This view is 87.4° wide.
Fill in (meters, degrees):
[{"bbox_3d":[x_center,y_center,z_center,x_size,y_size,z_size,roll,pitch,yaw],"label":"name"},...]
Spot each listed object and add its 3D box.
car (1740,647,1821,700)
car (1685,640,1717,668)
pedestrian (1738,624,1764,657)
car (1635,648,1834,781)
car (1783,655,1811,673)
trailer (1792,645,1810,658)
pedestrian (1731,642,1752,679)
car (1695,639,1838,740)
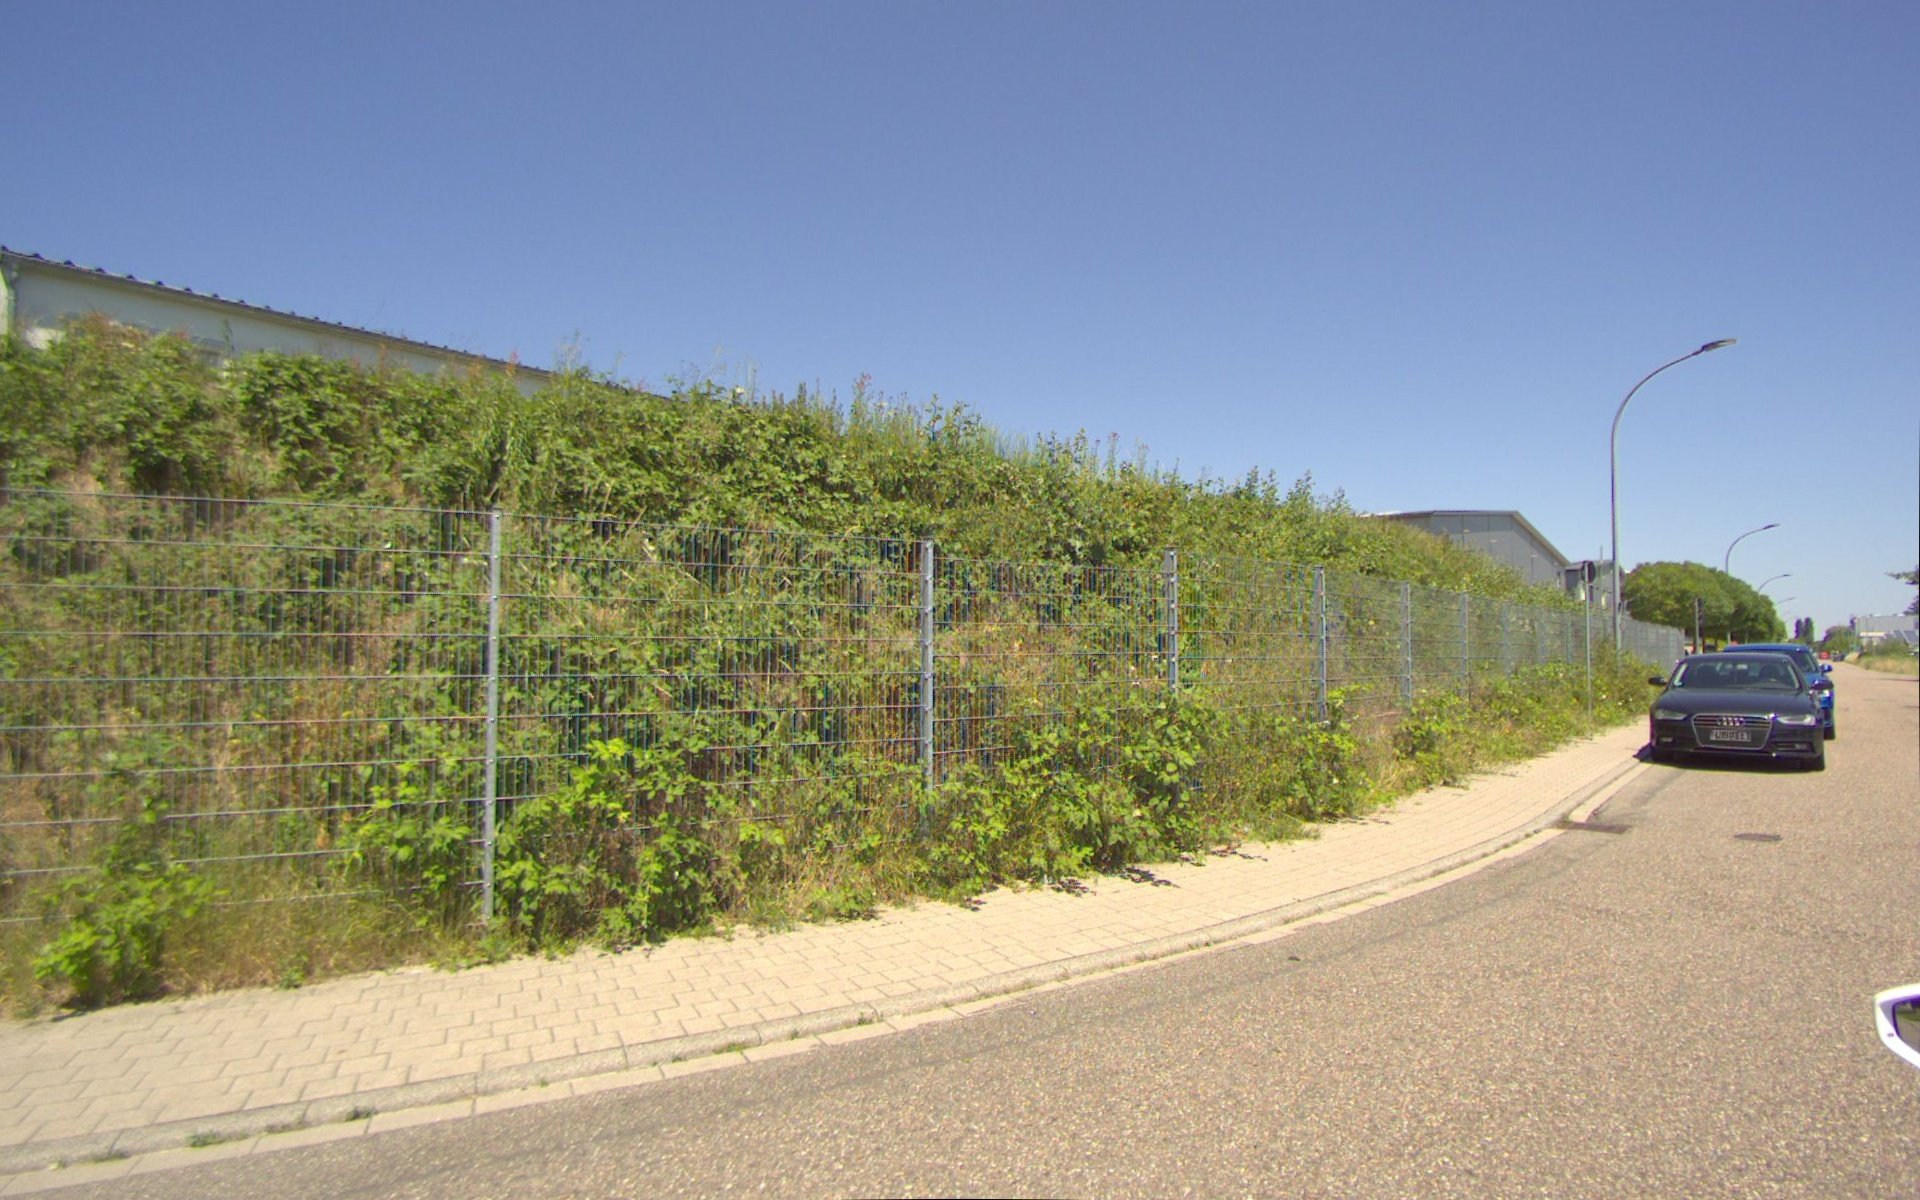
[{"bbox_3d":[25.330,2.223,30.966,1.803,1.519,4.238,-2,-4,40],"label":"car"},{"bbox_3d":[57.802,4.209,78.370,1.814,2.045,5.105,2,-1,38],"label":"car"},{"bbox_3d":[48.432,2.474,61.514,0.947,1.998,0.841,2,-1,-9],"label":"pedestrian"},{"bbox_3d":[10.397,1.389,13.475,1.802,1.473,4.561,-2,-4,39],"label":"car"},{"bbox_3d":[77.749,5.950,93.350,1.904,1.588,4.172,-2,-4,39],"label":"car"},{"bbox_3d":[137.930,8.428,164.771,2.175,2.165,4.265,-2,-4,40],"label":"trailer"},{"bbox_3d":[39.660,3.060,50.972,0.736,1.825,1.129,1,-1,42],"label":"pedestrian"},{"bbox_3d":[14.651,1.542,18.282,1.802,1.591,4.367,-2,-4,39],"label":"car"}]
